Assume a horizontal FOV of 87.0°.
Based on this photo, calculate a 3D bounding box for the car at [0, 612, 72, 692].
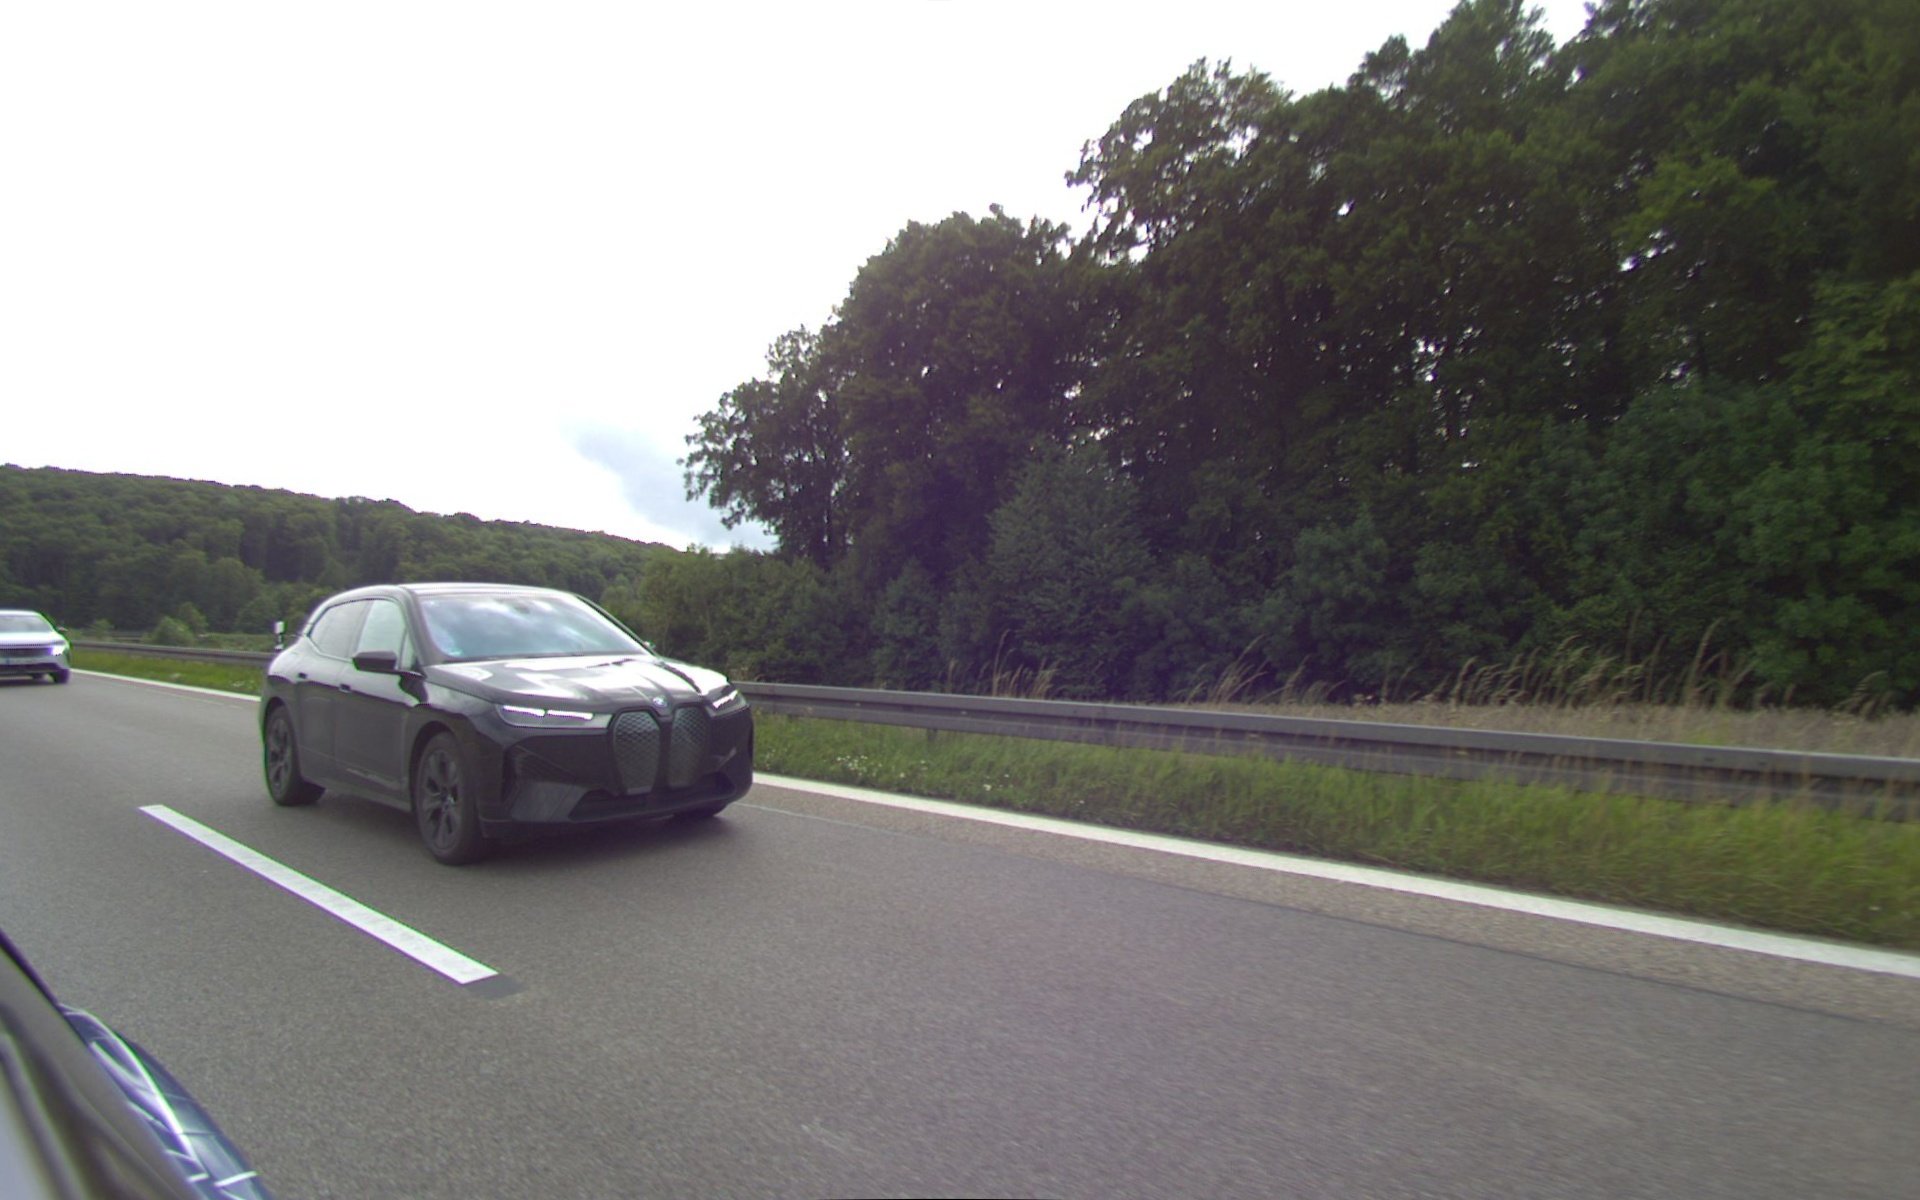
[{"bbox_3d":[-22.007,1.148,23.209,4.413,1.678,1.972,-1,-1,42],"label":"car"}]

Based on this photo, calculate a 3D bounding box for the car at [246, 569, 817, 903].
[{"bbox_3d":[-3.258,0.742,7.283,4.410,1.678,1.974,-2,-2,39],"label":"car"}]
